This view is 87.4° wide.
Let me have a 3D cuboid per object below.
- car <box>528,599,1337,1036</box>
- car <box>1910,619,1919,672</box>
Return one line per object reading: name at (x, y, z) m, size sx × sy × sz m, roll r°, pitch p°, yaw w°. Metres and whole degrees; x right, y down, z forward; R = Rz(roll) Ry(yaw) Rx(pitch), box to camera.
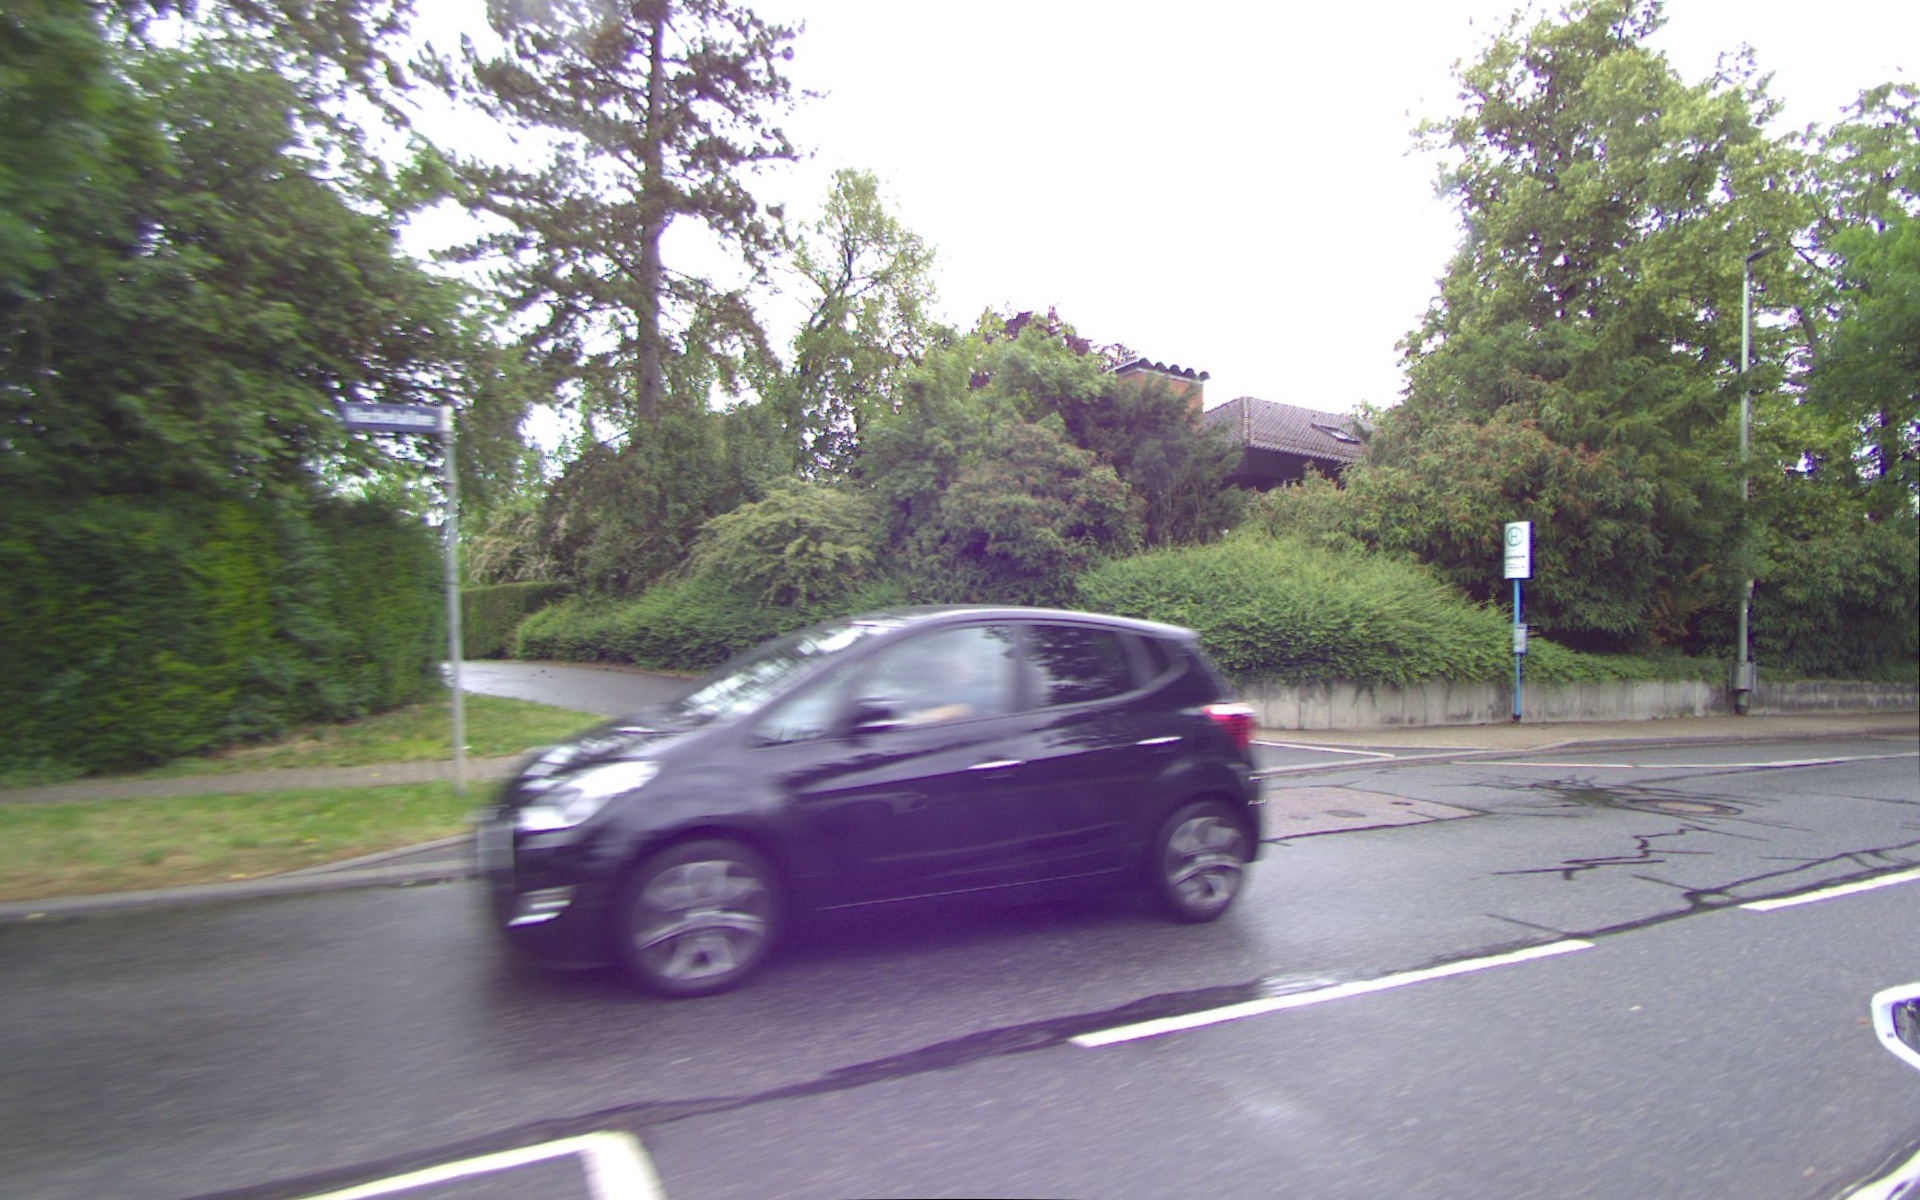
car at (-0.139, 0.856, 5.479) m, size 3.949 × 1.598 × 1.986 m, roll 2°, pitch -1°, yaw -27°
car at (39.922, 1.873, 37.480) m, size 3.436 × 2.065 × 5.720 m, roll 2°, pitch 0°, yaw -28°
